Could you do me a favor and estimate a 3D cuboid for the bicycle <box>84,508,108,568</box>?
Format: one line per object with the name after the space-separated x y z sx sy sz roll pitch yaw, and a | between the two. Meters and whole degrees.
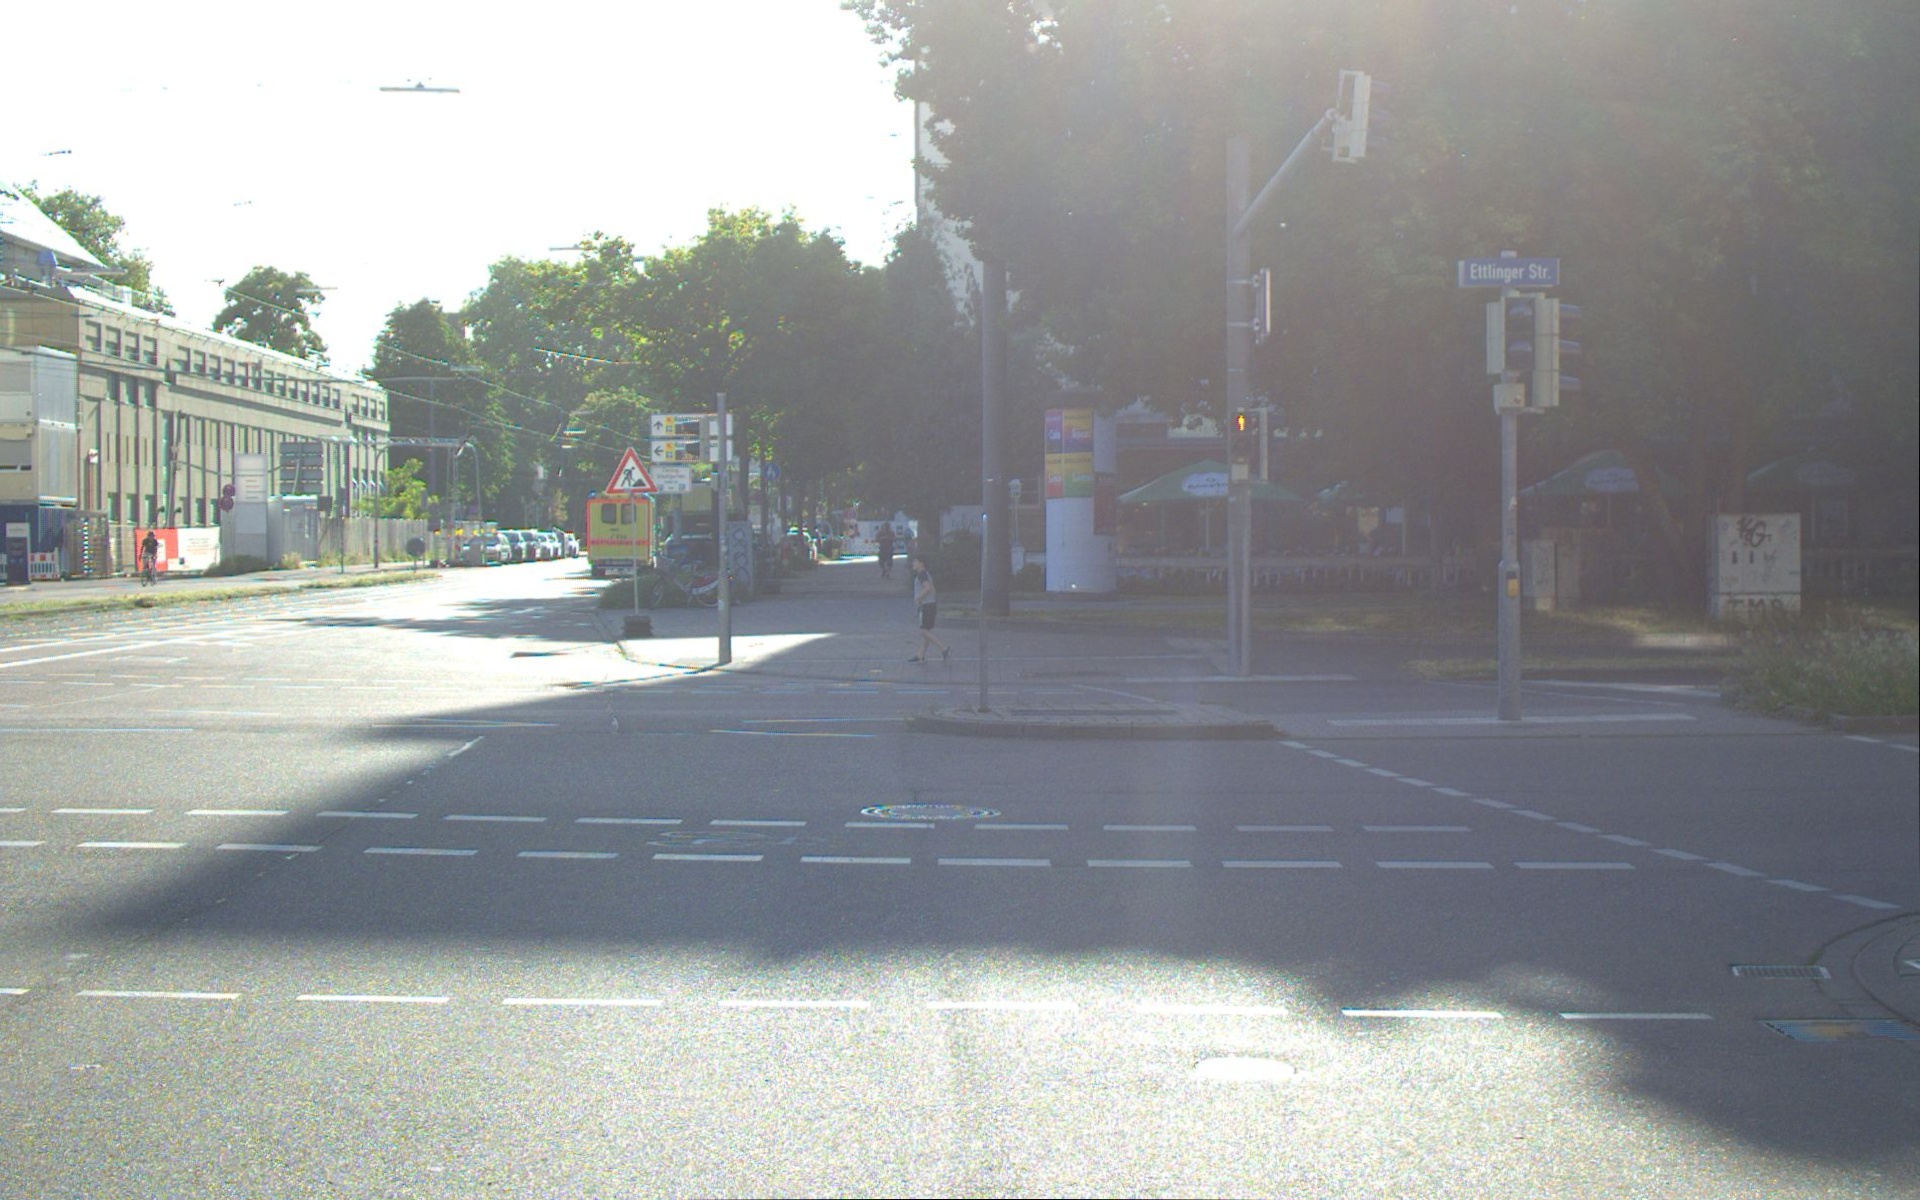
-32.732 -2.349 130.220 0.571 2.288 1.422 0 1 -2 | bicycle

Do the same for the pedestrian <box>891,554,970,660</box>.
-0.377 0.079 43.620 0.764 1.313 0.997 -1 1 -15 | pedestrian

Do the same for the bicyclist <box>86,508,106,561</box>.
-32.728 -2.475 130.198 0.571 2.017 0.762 0 1 -2 | bicyclist

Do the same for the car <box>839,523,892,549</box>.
-5.882 -3.967 213.403 3.214 1.583 1.446 1 0 -4 | car

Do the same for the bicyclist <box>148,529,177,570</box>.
-25.913 -1.652 111.749 0.689 1.323 1.000 1 0 -1 | bicyclist

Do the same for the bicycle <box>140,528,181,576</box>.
-25.962 -1.557 111.680 0.689 1.506 2.945 1 1 -1 | bicycle

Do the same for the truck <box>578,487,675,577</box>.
-11.378 -2.326 117.785 2.716 3.005 6.490 0 1 0 | truck

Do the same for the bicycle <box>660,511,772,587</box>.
-5.769 -1.207 81.337 2.547 1.737 1.037 1 0 0 | bicycle

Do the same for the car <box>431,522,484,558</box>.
-22.819 -2.721 156.324 1.894 1.601 4.501 -1 1 -2 | car

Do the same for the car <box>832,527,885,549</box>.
-6.256 -3.800 211.114 3.217 1.259 1.373 1 0 -1 | car
